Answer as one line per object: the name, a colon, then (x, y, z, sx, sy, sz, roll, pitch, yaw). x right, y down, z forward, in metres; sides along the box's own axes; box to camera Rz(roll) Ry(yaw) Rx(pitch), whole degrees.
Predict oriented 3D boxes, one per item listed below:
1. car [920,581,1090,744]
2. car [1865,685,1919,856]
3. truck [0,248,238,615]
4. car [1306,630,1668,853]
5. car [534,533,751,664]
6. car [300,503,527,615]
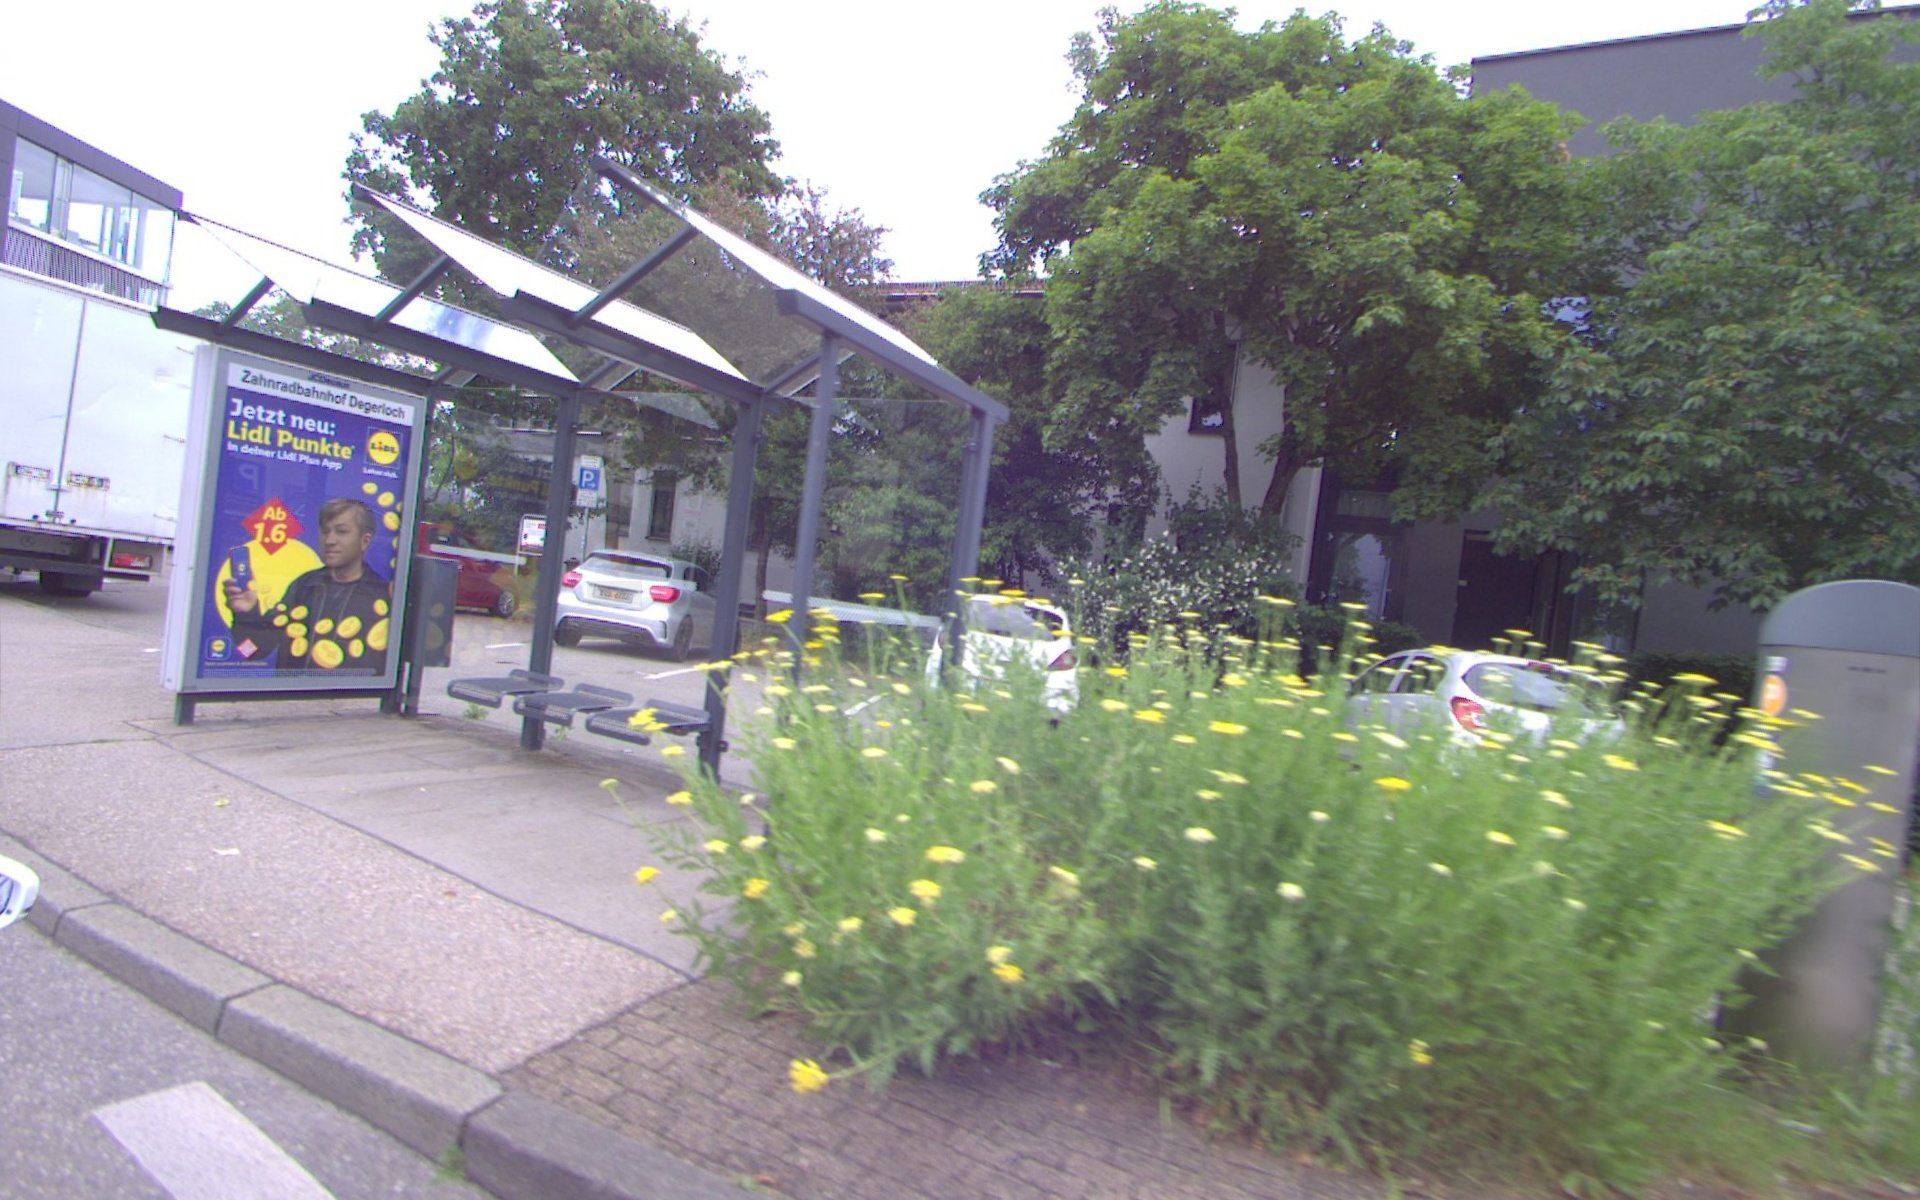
car: (0.593, 0.585, 11.787, 1.561, 1.454, 3.648, 5, 2, 5)
car: (9.574, 1.661, 7.520, 1.845, 1.495, 3.998, 7, 0, 0)
truck: (-12.474, -2.080, 12.801, 7.683, 3.570, 2.574, 7, 2, 33)
car: (4.758, 1.172, 9.699, 1.519, 1.395, 3.514, 8, 1, 1)
car: (-4.496, 0.046, 14.901, 1.765, 1.491, 3.806, 7, -2, 2)
car: (-9.116, -0.612, 17.136, 1.649, 1.472, 3.505, 7, -1, 4)
